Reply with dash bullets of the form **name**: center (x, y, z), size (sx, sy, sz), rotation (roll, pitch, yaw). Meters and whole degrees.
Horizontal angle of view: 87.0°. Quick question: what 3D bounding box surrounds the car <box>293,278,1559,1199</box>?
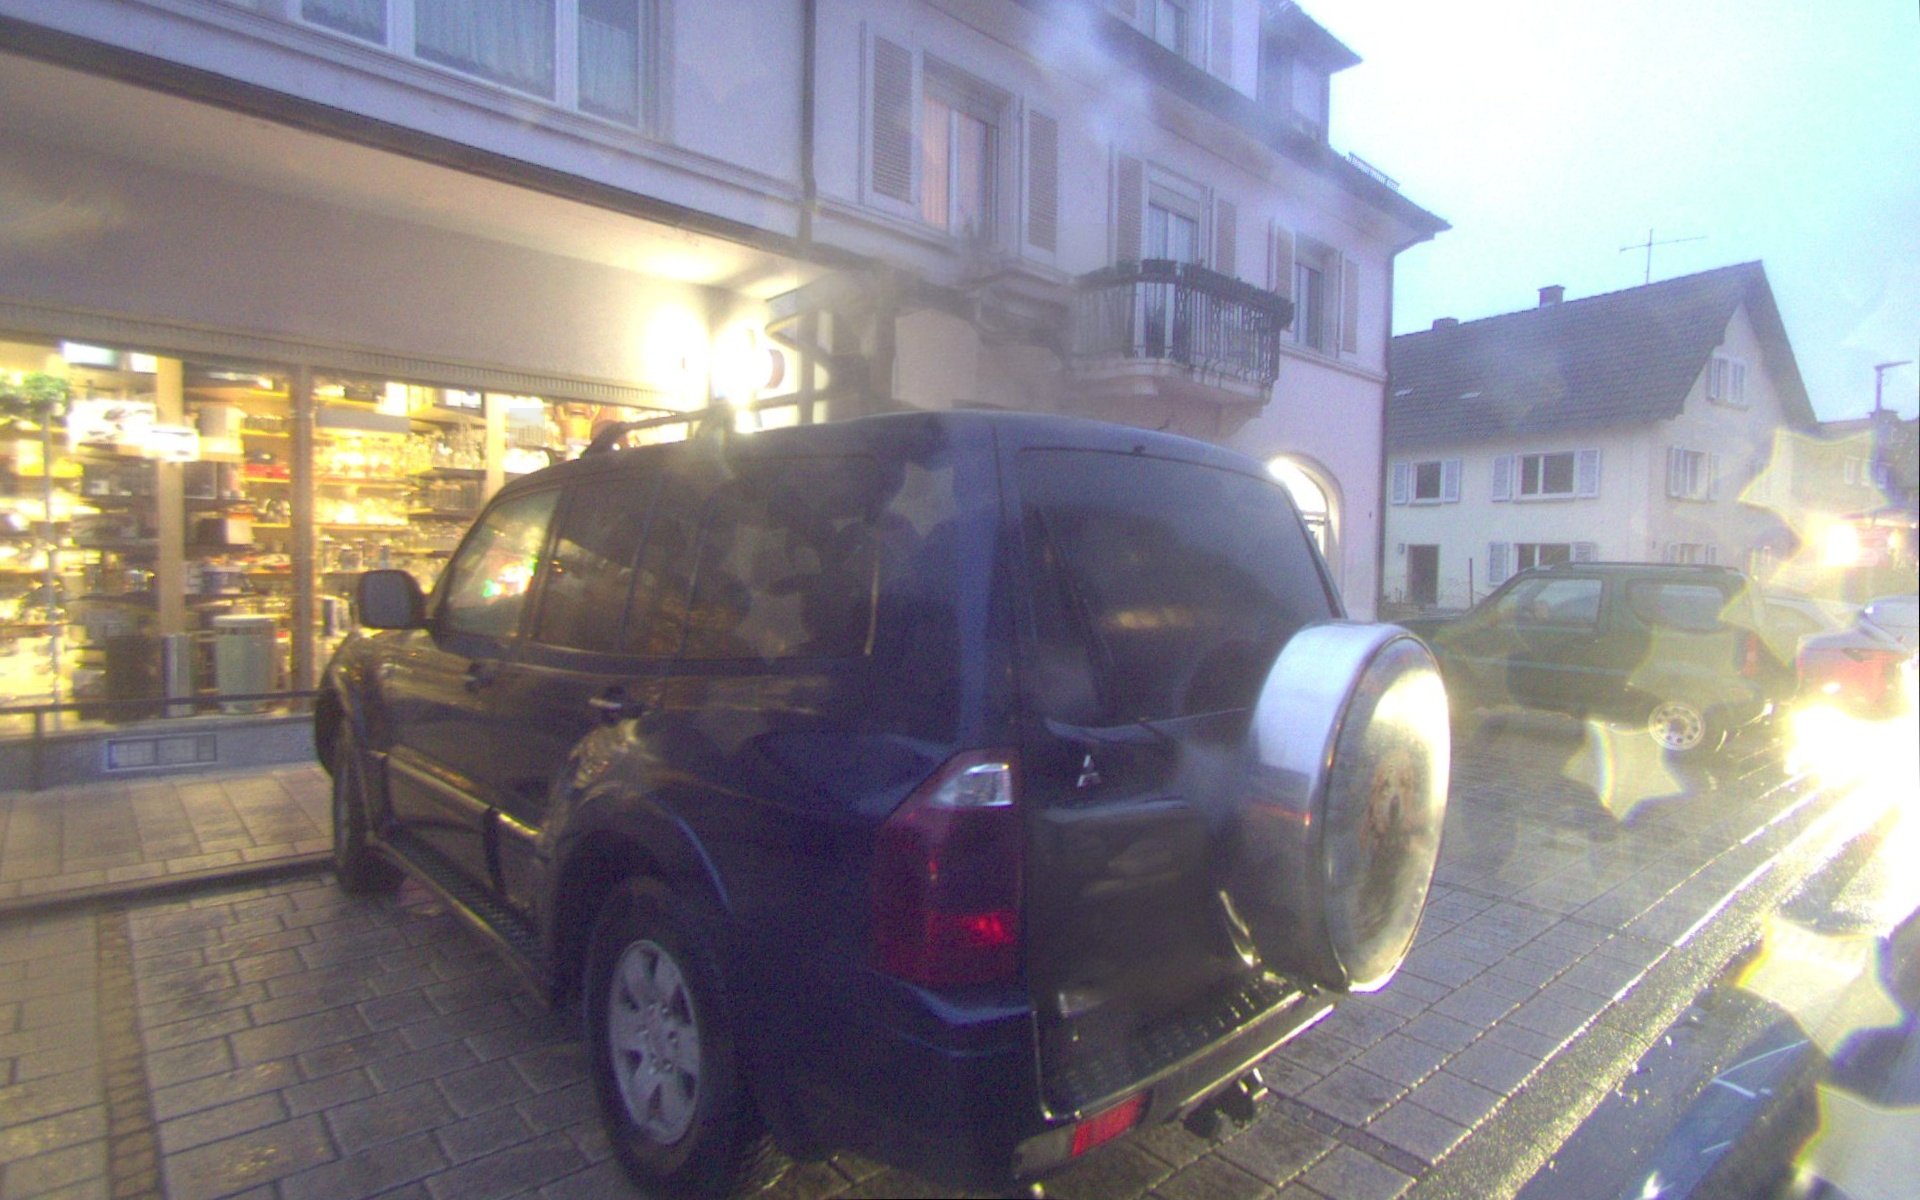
- **car**: center (-0.743, 0.384, 3.630), size (1.913, 1.797, 4.608), rotation (1, 2, -44)

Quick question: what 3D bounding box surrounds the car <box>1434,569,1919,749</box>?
- **car**: center (8.170, 0.501, 11.673), size (1.865, 1.491, 4.476), rotation (1, 3, -41)

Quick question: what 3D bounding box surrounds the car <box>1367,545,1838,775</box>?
- **car**: center (6.071, 0.407, 9.802), size (1.688, 1.701, 3.507), rotation (0, 4, -45)

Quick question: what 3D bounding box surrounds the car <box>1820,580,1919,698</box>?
- **car**: center (14.839, 0.563, 15.297), size (4.586, 1.566, 1.888), rotation (0, 3, -38)
